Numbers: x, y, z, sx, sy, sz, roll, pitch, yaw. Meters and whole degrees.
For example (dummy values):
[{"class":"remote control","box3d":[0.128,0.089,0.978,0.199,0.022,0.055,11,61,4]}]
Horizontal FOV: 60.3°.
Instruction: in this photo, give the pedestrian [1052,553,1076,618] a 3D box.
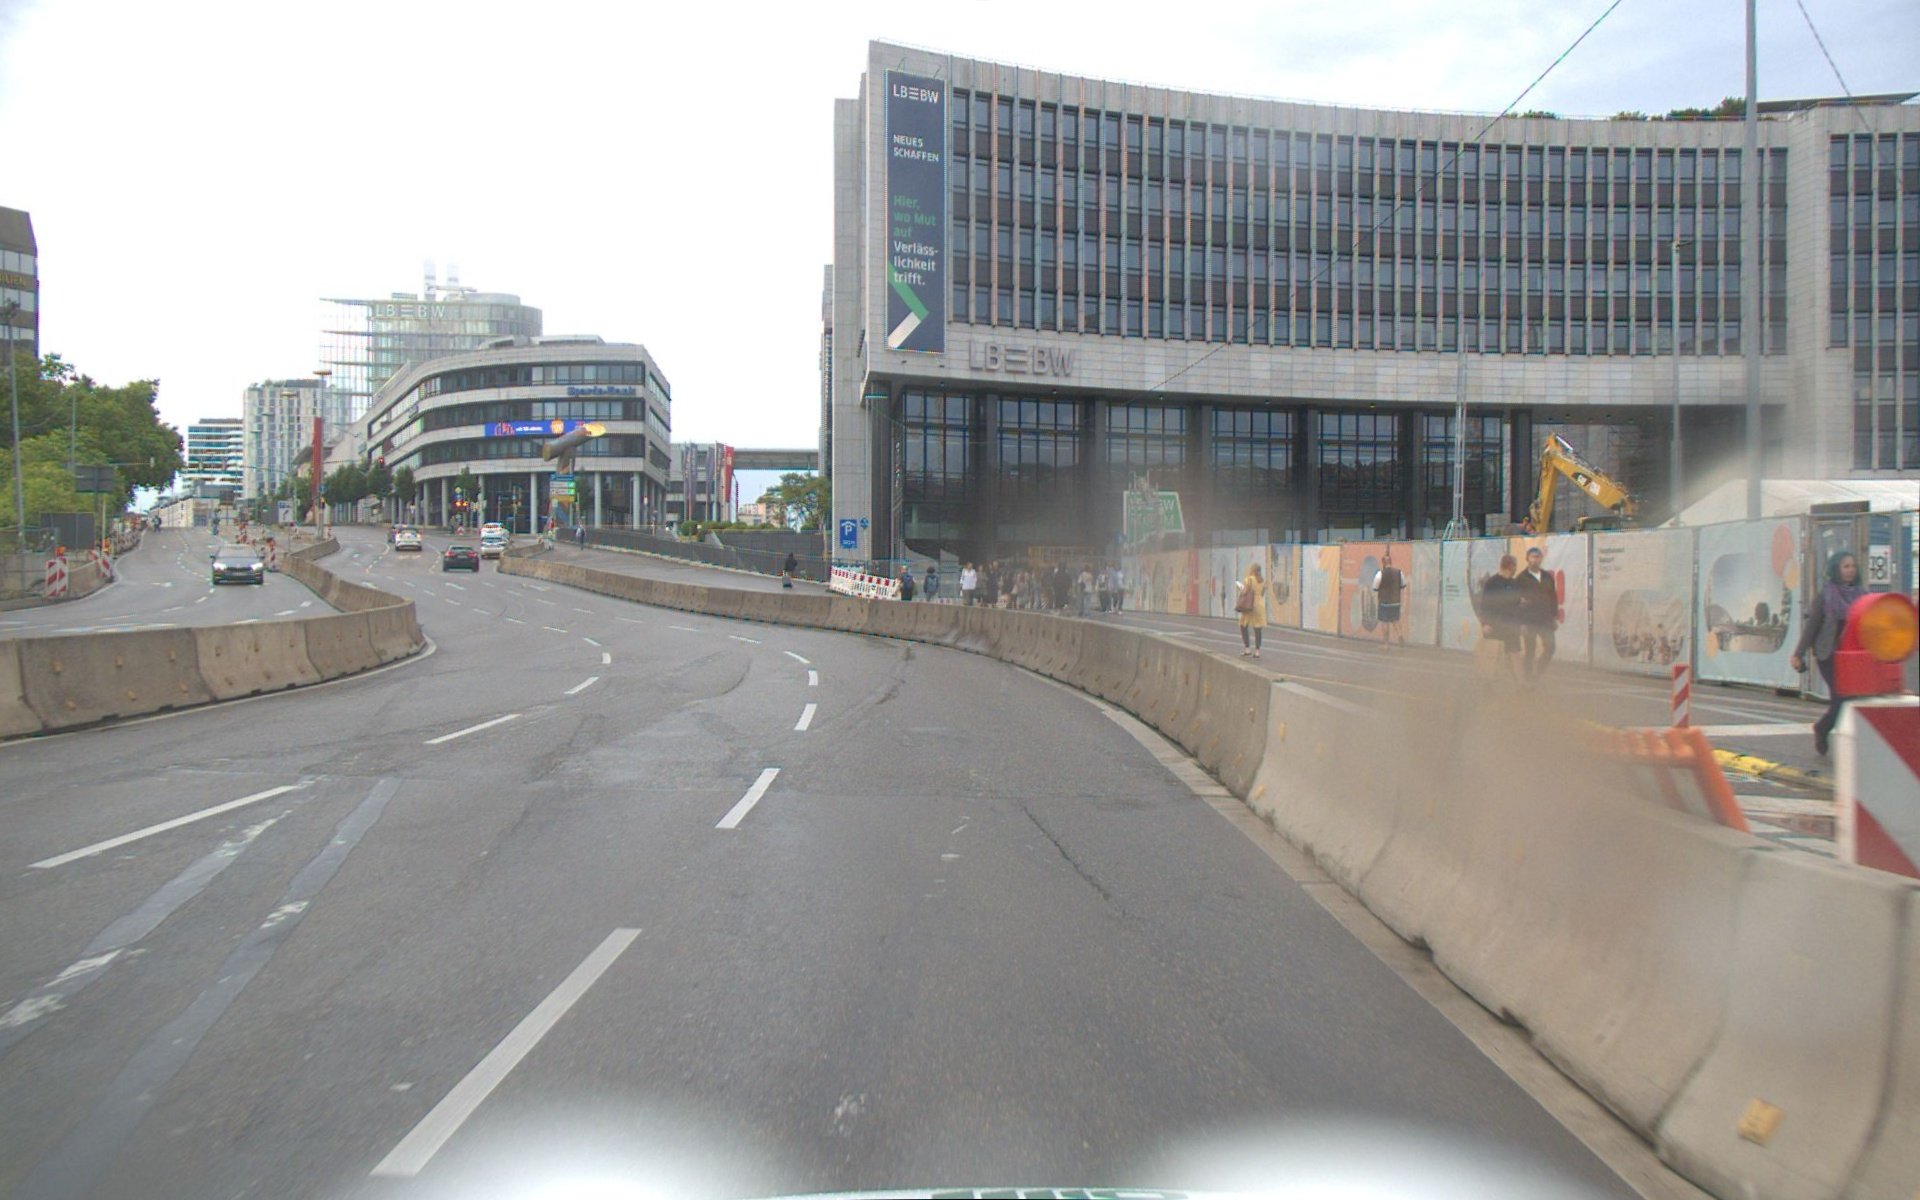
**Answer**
[{"class":"pedestrian","box3d":[3.344,-0.484,53.125,0.768,2.048,0.863,0,2,4]}]

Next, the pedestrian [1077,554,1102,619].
[{"class":"pedestrian","box3d":[4.166,-0.438,53.102,0.768,2.048,0.863,0,2,4]}]

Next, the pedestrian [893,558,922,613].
[{"class":"pedestrian","box3d":[-1.605,-0.456,50.610,0.738,1.670,0.820,0,2,-14]}]

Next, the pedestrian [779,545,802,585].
[{"class":"pedestrian","box3d":[-7.692,-1.586,75.057,0.746,1.821,1.050,0,1,-23]}]

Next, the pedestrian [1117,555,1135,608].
[{"class":"pedestrian","box3d":[5.519,-0.613,55.146,0.493,1.734,0.646,0,2,-3]}]

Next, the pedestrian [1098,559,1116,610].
[{"class":"pedestrian","box3d":[5.080,-0.554,57.243,0.490,1.734,0.732,0,2,-4]}]

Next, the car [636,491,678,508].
[{"class":"car","box3d":[-27.515,-9.130,150.396,1.595,1.459,3.726,2,3,37]}]

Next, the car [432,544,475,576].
[{"class":"car","box3d":[-26.825,-2.118,87.477,1.653,1.534,3.714,0,-1,-26]}]

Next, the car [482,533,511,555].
[{"class":"car","box3d":[-30.036,-3.647,107.120,1.795,1.376,3.849,0,3,-16]}]

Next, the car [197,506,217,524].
[{"class":"car","box3d":[-67.843,-7.622,149.020,1.580,1.376,3.727,0,-1,-23]}]

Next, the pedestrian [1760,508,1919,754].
[{"class":"pedestrian","box3d":[7.090,0.225,13.245,0.853,1.894,0.948,0,1,-6]}]

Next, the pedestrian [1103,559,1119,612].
[{"class":"pedestrian","box3d":[5.024,-0.485,55.127,0.439,1.734,0.646,0,2,-3]}]

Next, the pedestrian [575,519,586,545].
[{"class":"pedestrian","box3d":[-26.567,-4.752,115.690,0.612,1.795,0.590,0,2,0]}]

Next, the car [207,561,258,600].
[{"class":"car","box3d":[-27.923,-0.736,63.434,1.583,1.376,3.720,0,-1,-27]}]

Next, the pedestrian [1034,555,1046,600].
[{"class":"pedestrian","box3d":[3.133,-0.897,64.889,0.438,1.734,0.647,0,2,6]}]

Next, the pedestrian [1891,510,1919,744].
[{"class":"pedestrian","box3d":[8.159,0.222,13.225,0.764,1.894,1.057,0,1,-6]}]

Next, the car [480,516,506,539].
[{"class":"car","box3d":[-37.775,-5.875,133.821,1.961,1.835,4.248,0,2,-16]}]

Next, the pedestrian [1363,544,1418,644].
[{"class":"pedestrian","box3d":[8.294,-0.131,31.879,0.764,1.894,0.811,-1,2,-6]}]

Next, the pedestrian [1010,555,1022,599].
[{"class":"pedestrian","box3d":[2.212,-0.911,65.085,0.438,1.734,0.647,0,2,6]}]

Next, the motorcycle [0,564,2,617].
[{"class":"motorcycle","box3d":[-21.536,-0.169,35.587,0.853,1.168,2.151,0,2,-8]}]

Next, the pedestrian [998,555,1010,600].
[{"class":"pedestrian","box3d":[1.733,-0.896,65.184,0.438,1.734,0.647,0,2,6]}]

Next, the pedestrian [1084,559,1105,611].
[{"class":"pedestrian","box3d":[4.479,-0.499,55.090,0.613,1.734,0.646,0,2,-3]}]

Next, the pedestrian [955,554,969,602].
[{"class":"pedestrian","box3d":[0.063,-0.821,60.507,0.439,1.734,0.646,0,2,-7]}]

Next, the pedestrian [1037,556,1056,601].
[{"class":"pedestrian","box3d":[3.334,-0.830,63.763,0.508,1.734,0.567,-1,2,-39]}]

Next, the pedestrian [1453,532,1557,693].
[{"class":"pedestrian","box3d":[6.489,0.131,19.754,0.803,1.859,1.110,-1,1,-4]}]

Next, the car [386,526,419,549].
[{"class":"car","box3d":[-39.232,-4.383,116.315,1.721,1.532,3.721,0,1,-27]}]

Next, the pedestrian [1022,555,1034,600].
[{"class":"pedestrian","box3d":[2.678,-0.897,65.044,0.438,1.734,0.647,0,2,6]}]

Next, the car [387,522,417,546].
[{"class":"car","box3d":[-43.424,-5.134,128.756,1.961,1.835,4.248,0,2,-16]}]

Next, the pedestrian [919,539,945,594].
[{"class":"pedestrian","box3d":[-0.866,-1.039,50.794,0.647,1.670,0.820,0,2,-14]}]

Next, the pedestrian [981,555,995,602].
[{"class":"pedestrian","box3d":[1.032,-0.799,60.743,0.445,1.734,0.646,0,2,-7]}]

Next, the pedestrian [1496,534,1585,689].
[{"class":"pedestrian","box3d":[7.236,0.123,20.654,0.764,1.894,0.811,0,1,-6]}]

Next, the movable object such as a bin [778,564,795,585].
[{"class":"movable object such as a bin","box3d":[-7.837,-1.166,74.612,0.590,0.950,0.737,0,1,-23]}]

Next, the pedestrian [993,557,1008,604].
[{"class":"pedestrian","box3d":[1.487,-0.728,60.849,0.439,1.734,0.646,0,2,-7]}]

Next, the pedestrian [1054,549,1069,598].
[{"class":"pedestrian","box3d":[3.847,-0.995,62.483,0.518,1.849,0.536,0,2,-2]}]

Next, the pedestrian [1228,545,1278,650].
[{"class":"pedestrian","box3d":[5.335,-0.060,30.163,0.718,1.886,0.831,0,1,-4]}]

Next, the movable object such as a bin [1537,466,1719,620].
[{"class":"movable object such as a bin","box3d":[18.659,-1.559,46.358,3.048,4.100,3.668,0,1,-25]}]

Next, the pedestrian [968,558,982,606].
[{"class":"pedestrian","box3d":[0.548,-0.657,60.634,0.439,1.734,0.646,0,2,-7]}]
